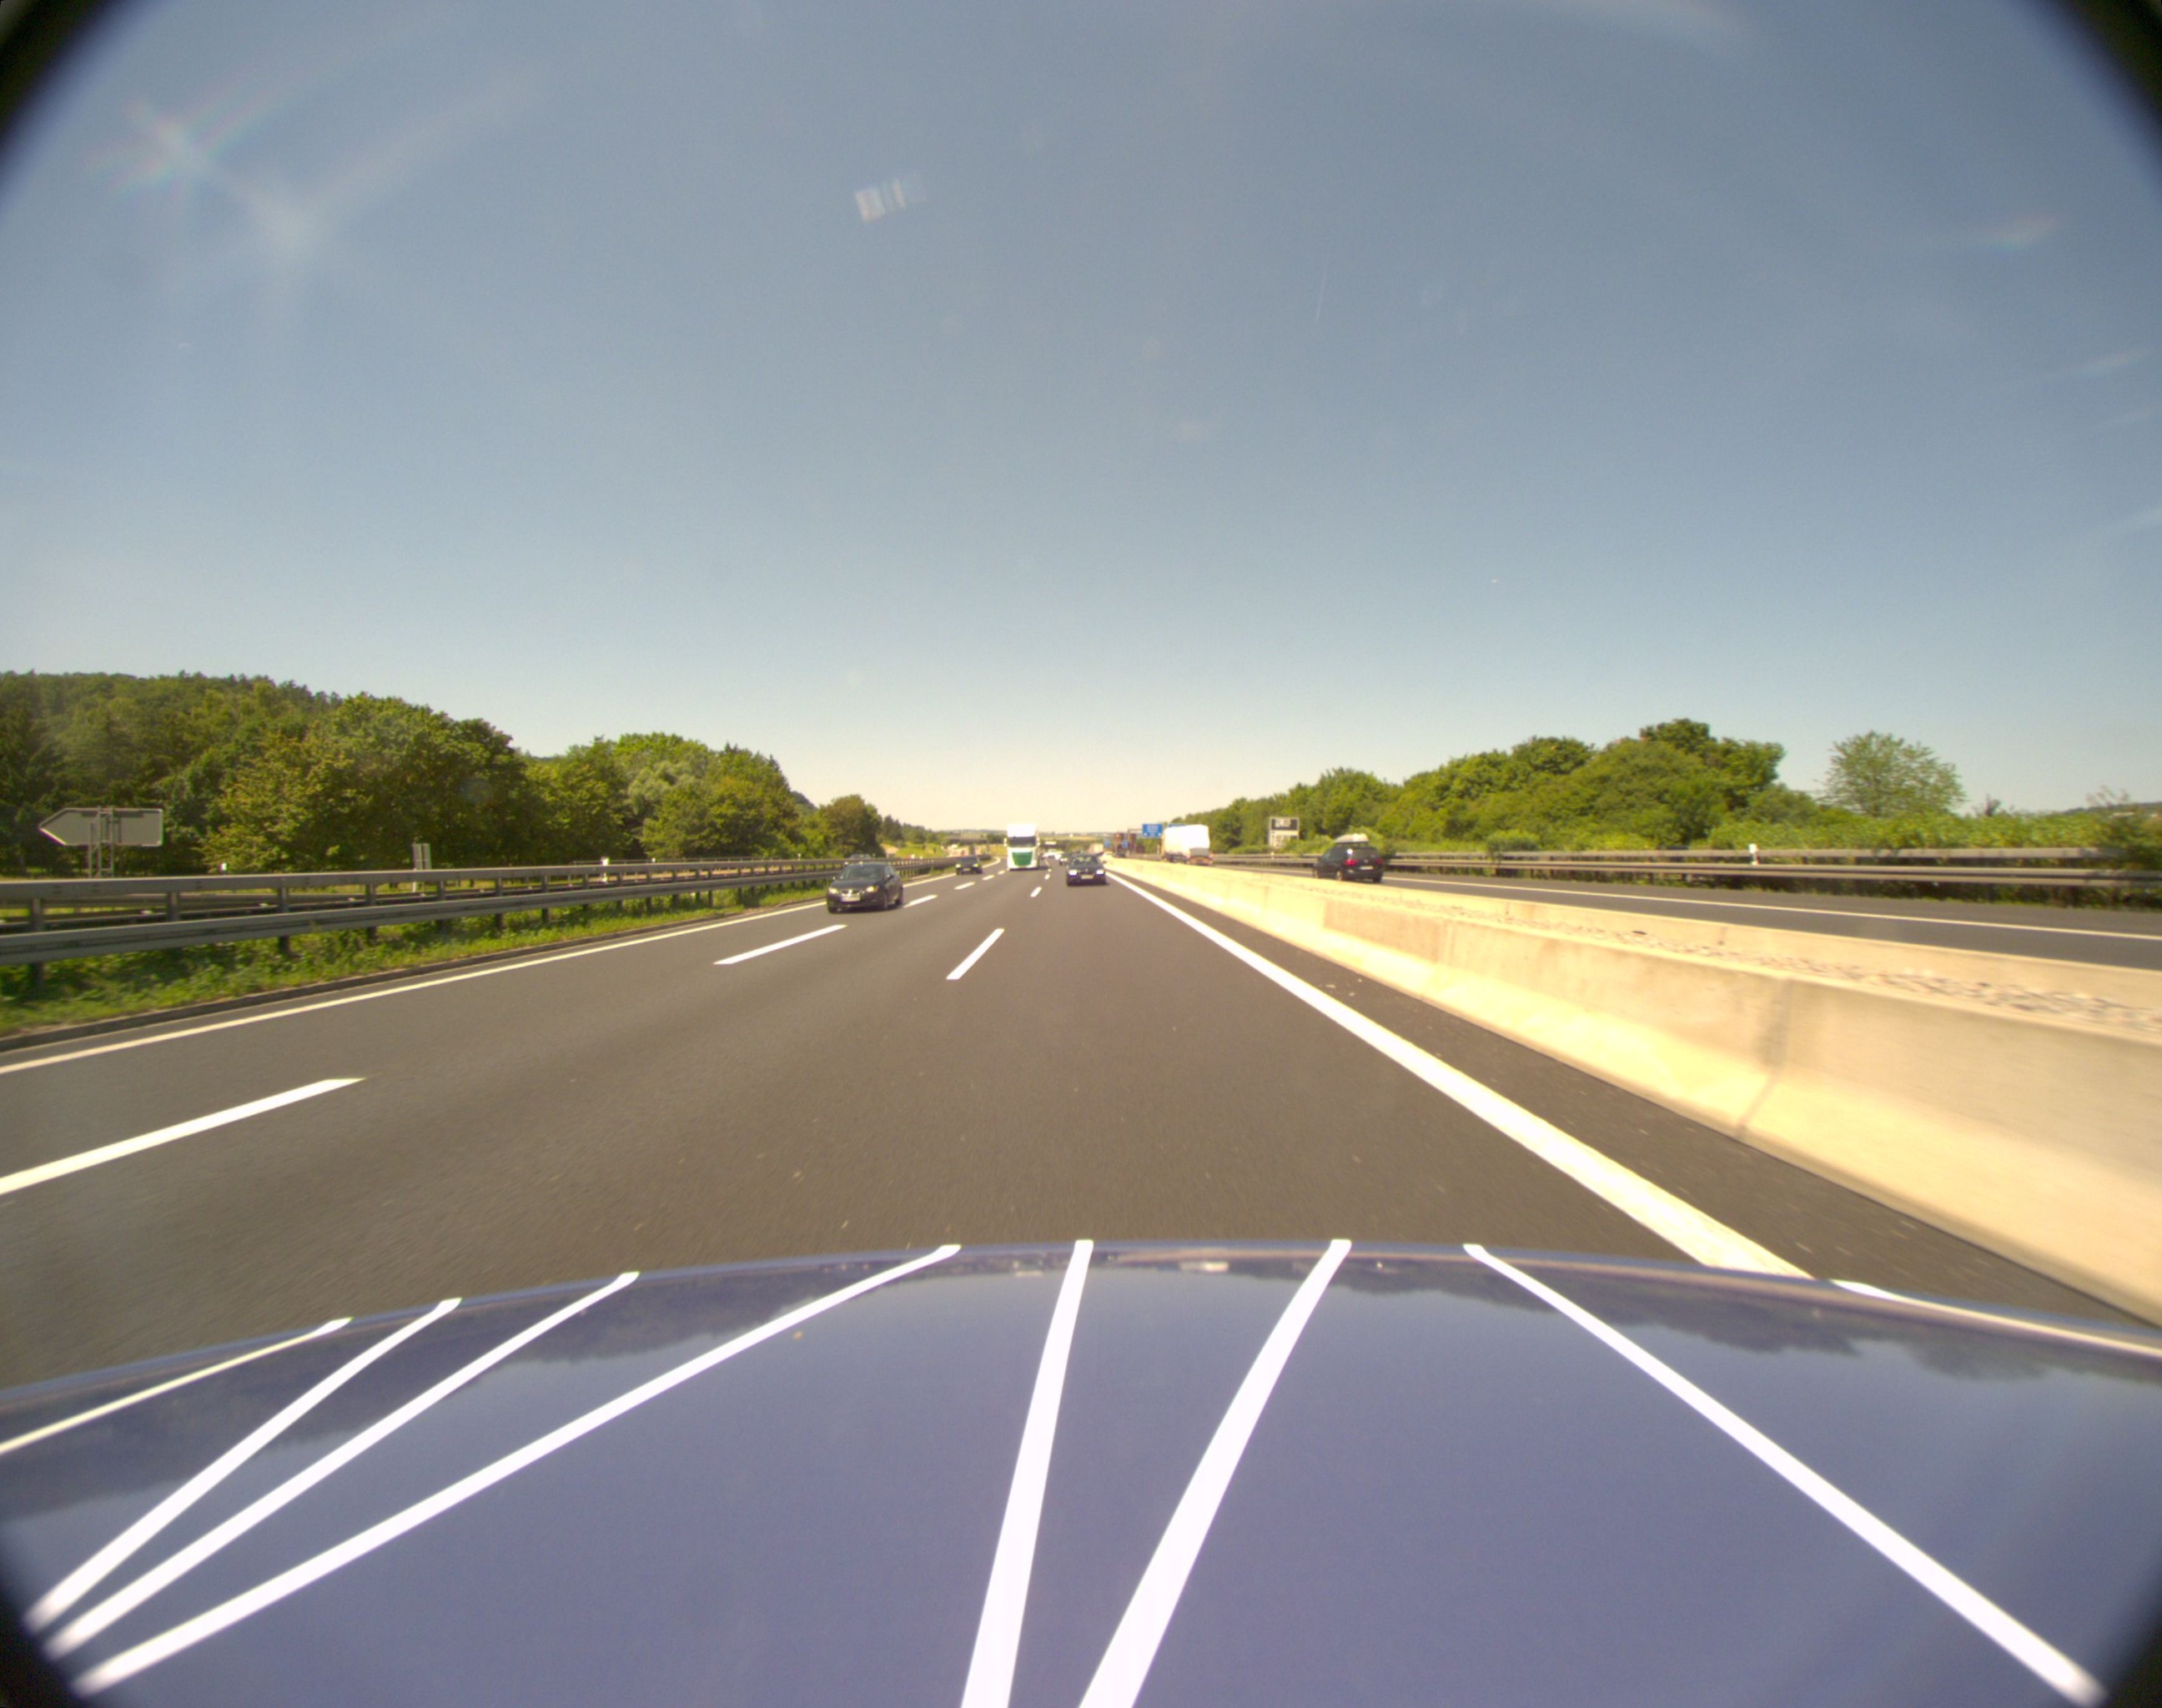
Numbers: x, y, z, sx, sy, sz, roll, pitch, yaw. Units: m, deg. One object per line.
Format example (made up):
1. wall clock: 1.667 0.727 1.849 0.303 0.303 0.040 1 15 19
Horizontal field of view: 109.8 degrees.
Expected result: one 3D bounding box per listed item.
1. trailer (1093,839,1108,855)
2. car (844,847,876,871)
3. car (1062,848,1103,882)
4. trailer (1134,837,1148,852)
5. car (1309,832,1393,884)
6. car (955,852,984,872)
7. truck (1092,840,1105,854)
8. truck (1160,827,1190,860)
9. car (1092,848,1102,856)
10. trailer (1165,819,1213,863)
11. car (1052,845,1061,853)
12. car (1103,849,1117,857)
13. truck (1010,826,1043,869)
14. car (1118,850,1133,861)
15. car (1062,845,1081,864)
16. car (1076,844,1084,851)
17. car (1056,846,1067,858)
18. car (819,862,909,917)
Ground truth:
1. trailer: 5.193 -1.861 204.547 2.918 4.022 12.058 -1 1 -3
2. car: -19.425 0.432 67.031 1.999 2.002 3.997 -1 1 -6
3. car: 0.004 0.504 38.324 1.799 1.574 3.998 -1 1 -3
4. trailer: 18.915 -3.059 241.895 2.802 4.408 11.648 -1 1 -3
5. car: 11.767 0.145 33.464 1.999 2.069 4.703 -1 1 -1
6. car: -8.734 0.608 59.957 1.892 1.464 3.865 -1 1 -3
7. truck: 4.851 -1.979 212.210 2.936 3.950 5.896 -1 1 -3
8. truck: 10.934 -1.220 89.040 2.757 3.733 4.864 -1 1 -2
9. car: 3.365 -0.412 164.086 1.733 1.527 4.611 -1 0 -4
10. trailer: 11.232 -1.354 80.209 2.725 4.287 12.819 -1 1 -2
11. car: -6.012 -1.231 184.835 1.884 1.836 4.000 0 0 1
12. car: 5.043 -0.139 131.780 1.999 1.366 4.661 -1 0 -2
13. truck: -4.769 -0.560 66.710 2.649 3.572 4.401 -1 1 -4
14. car: 6.419 0.205 110.197 1.998 1.342 4.258 -1 1 1
15. car: -1.076 0.022 86.622 1.999 2.002 3.998 -1 1 -3
16. car: -0.261 -2.046 223.737 2.056 2.002 4.952 -1 1 -3
17. car: -3.334 -0.406 132.004 1.925 2.002 3.999 0 0 -1
18. car: -6.532 1.023 23.295 1.781 1.392 3.759 -1 1 -2
